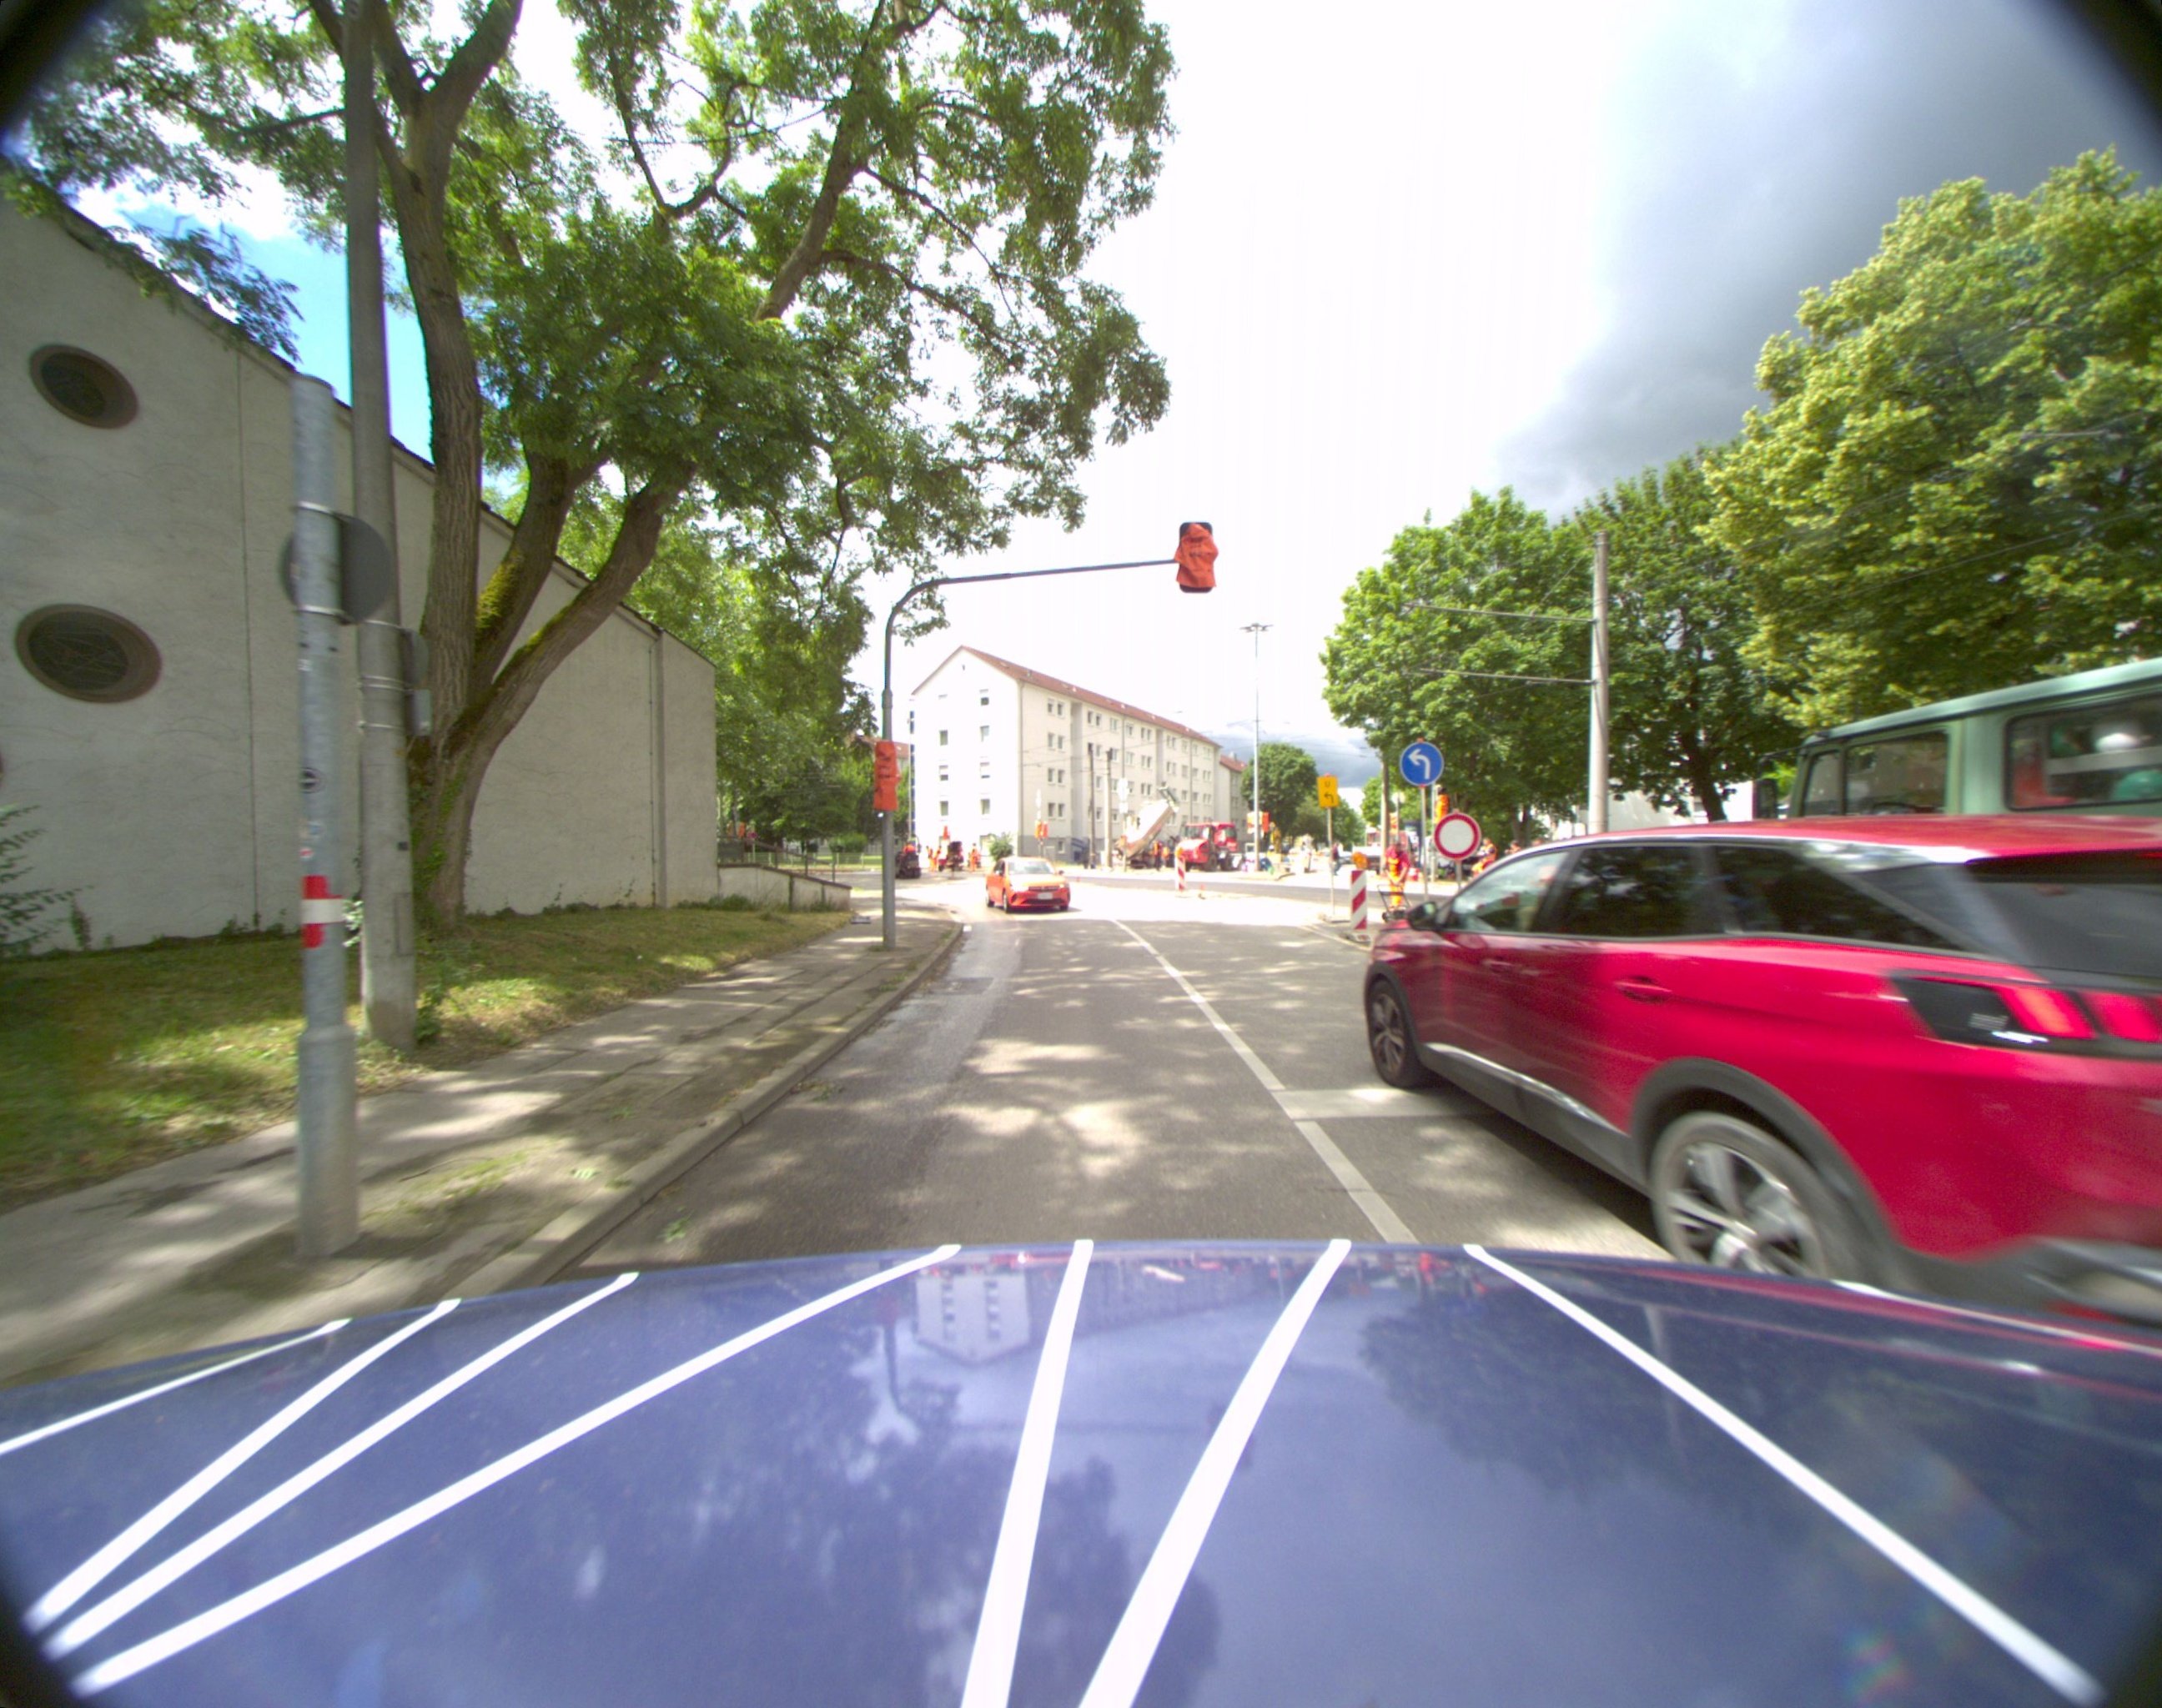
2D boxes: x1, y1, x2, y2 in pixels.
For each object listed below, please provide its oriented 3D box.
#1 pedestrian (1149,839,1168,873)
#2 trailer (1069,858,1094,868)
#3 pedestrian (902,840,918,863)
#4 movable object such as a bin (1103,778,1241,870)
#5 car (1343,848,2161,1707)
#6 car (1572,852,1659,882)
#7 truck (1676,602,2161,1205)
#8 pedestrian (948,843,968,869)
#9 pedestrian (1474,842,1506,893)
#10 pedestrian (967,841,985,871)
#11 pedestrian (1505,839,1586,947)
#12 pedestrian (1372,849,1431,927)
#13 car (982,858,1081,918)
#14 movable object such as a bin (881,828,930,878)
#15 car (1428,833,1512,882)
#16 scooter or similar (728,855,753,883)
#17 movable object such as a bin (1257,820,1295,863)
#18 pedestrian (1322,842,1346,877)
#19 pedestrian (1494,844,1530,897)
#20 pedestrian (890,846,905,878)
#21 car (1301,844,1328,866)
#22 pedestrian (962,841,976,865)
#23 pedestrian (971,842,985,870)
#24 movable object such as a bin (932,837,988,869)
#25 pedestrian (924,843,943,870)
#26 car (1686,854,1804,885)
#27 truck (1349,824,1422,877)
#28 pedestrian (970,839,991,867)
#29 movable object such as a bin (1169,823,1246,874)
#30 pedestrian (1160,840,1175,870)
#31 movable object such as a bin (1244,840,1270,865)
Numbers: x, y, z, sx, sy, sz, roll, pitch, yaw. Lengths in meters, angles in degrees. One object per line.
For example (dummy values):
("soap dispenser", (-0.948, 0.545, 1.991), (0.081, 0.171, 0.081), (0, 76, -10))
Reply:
("pedestrian", (4.265, 0.084, 41.814), (0.796, 1.822, 0.970), (-1, 2, -10))
("trailer", (0.036, 0.542, 48.223), (0.799, 0.612, 1.593), (0, 0, -37))
("pedestrian", (-9.010, -0.132, 39.954), (0.615, 1.209, 0.552), (0, 1, 39))
("movable object such as a bin", (5.956, -1.804, 48.687), (9.052, 5.453, 2.814), (0, 0, -33))
("car", (2.788, 0.819, 3.299), (1.847, 1.608, 4.242), (-2, 0, 1))
("car", (26.715, 0.637, 38.068), (3.197, 1.446, 1.566), (0, 0, 15))
("truck", (6.170, 0.186, 2.963), (2.669, 2.709, 6.396), (-2, 0, 1))
("pedestrian", (-8.035, 0.132, 49.534), (0.916, 1.706, 0.861), (-1, 1, 40))
("pedestrian", (12.575, 0.397, 23.399), (0.796, 1.532, 0.763), (0, 1, 23))
("pedestrian", (-6.547, 0.109, 47.363), (0.767, 1.828, 0.785), (0, 1, 27))
("pedestrian", (7.472, 0.596, 12.246), (0.707, 1.659, 0.826), (-2, 3, -21))
("pedestrian", (6.602, 0.684, 15.660), (0.898, 1.542, 0.766), (-2, 1, 39))
("car", (-1.471, 0.875, 21.085), (1.772, 1.425, 3.833), (-3, 0, -18))
("movable object such as a bin", (-9.423, -0.075, 40.698), (2.355, 2.579, 1.323), (0, 2, 40))
("car", (16.183, 0.137, 31.902), (1.996, 1.876, 5.256), (0, 0, 14))
("scooter or similar", (-15.087, 0.641, 33.690), (1.191, 1.225, 0.567), (0, 1, 43))
("movable object such as a bin", (21.280, -1.260, 82.758), (2.819, 4.509, 6.220), (0, 0, 26))
("pedestrian", (12.314, 0.265, 36.960), (0.872, 1.650, 0.930), (-1, 1, 34))
("pedestrian", (12.722, 0.462, 22.445), (0.839, 1.524, 0.909), (0, 1, 23))
("pedestrian", (-9.824, 0.423, 40.702), (0.557, 1.672, 0.471), (0, 3, 32))
("car", (22.225, 0.080, 72.322), (1.995, 2.002, 5.918), (0, 0, 22))
("pedestrian", (-7.876, -0.093, 53.299), (0.881, 1.674, 0.666), (-1, 2, -18))
("pedestrian", (-7.069, 0.105, 52.106), (0.881, 1.897, 0.666), (-1, 2, -15))
("movable object such as a bin", (-7.665, -0.053, 48.233), (2.959, 2.002, 2.004), (0, 1, 38))
("pedestrian", (-9.650, 0.177, 49.580), (0.916, 1.706, 0.755), (-1, 1, 34))
("car", (31.869, 0.722, 36.576), (3.869, 1.450, 1.780), (0, 0, 14))
("truck", (15.784, -0.191, 39.216), (2.412, 2.553, 5.594), (0, 1, 34))
("pedestrian", (-6.652, -0.086, 50.448), (0.872, 1.813, 1.098), (0, 1, 28))
("movable object such as a bin", (7.228, -0.348, 42.827), (2.110, 2.653, 5.598), (0, 2, 34))
("pedestrian", (5.106, 0.045, 44.921), (0.611, 1.778, 0.583), (-2, 0, 32))
("movable object such as a bin", (17.278, -0.126, 74.599), (1.995, 2.395, 4.006), (0, 0, 21))
